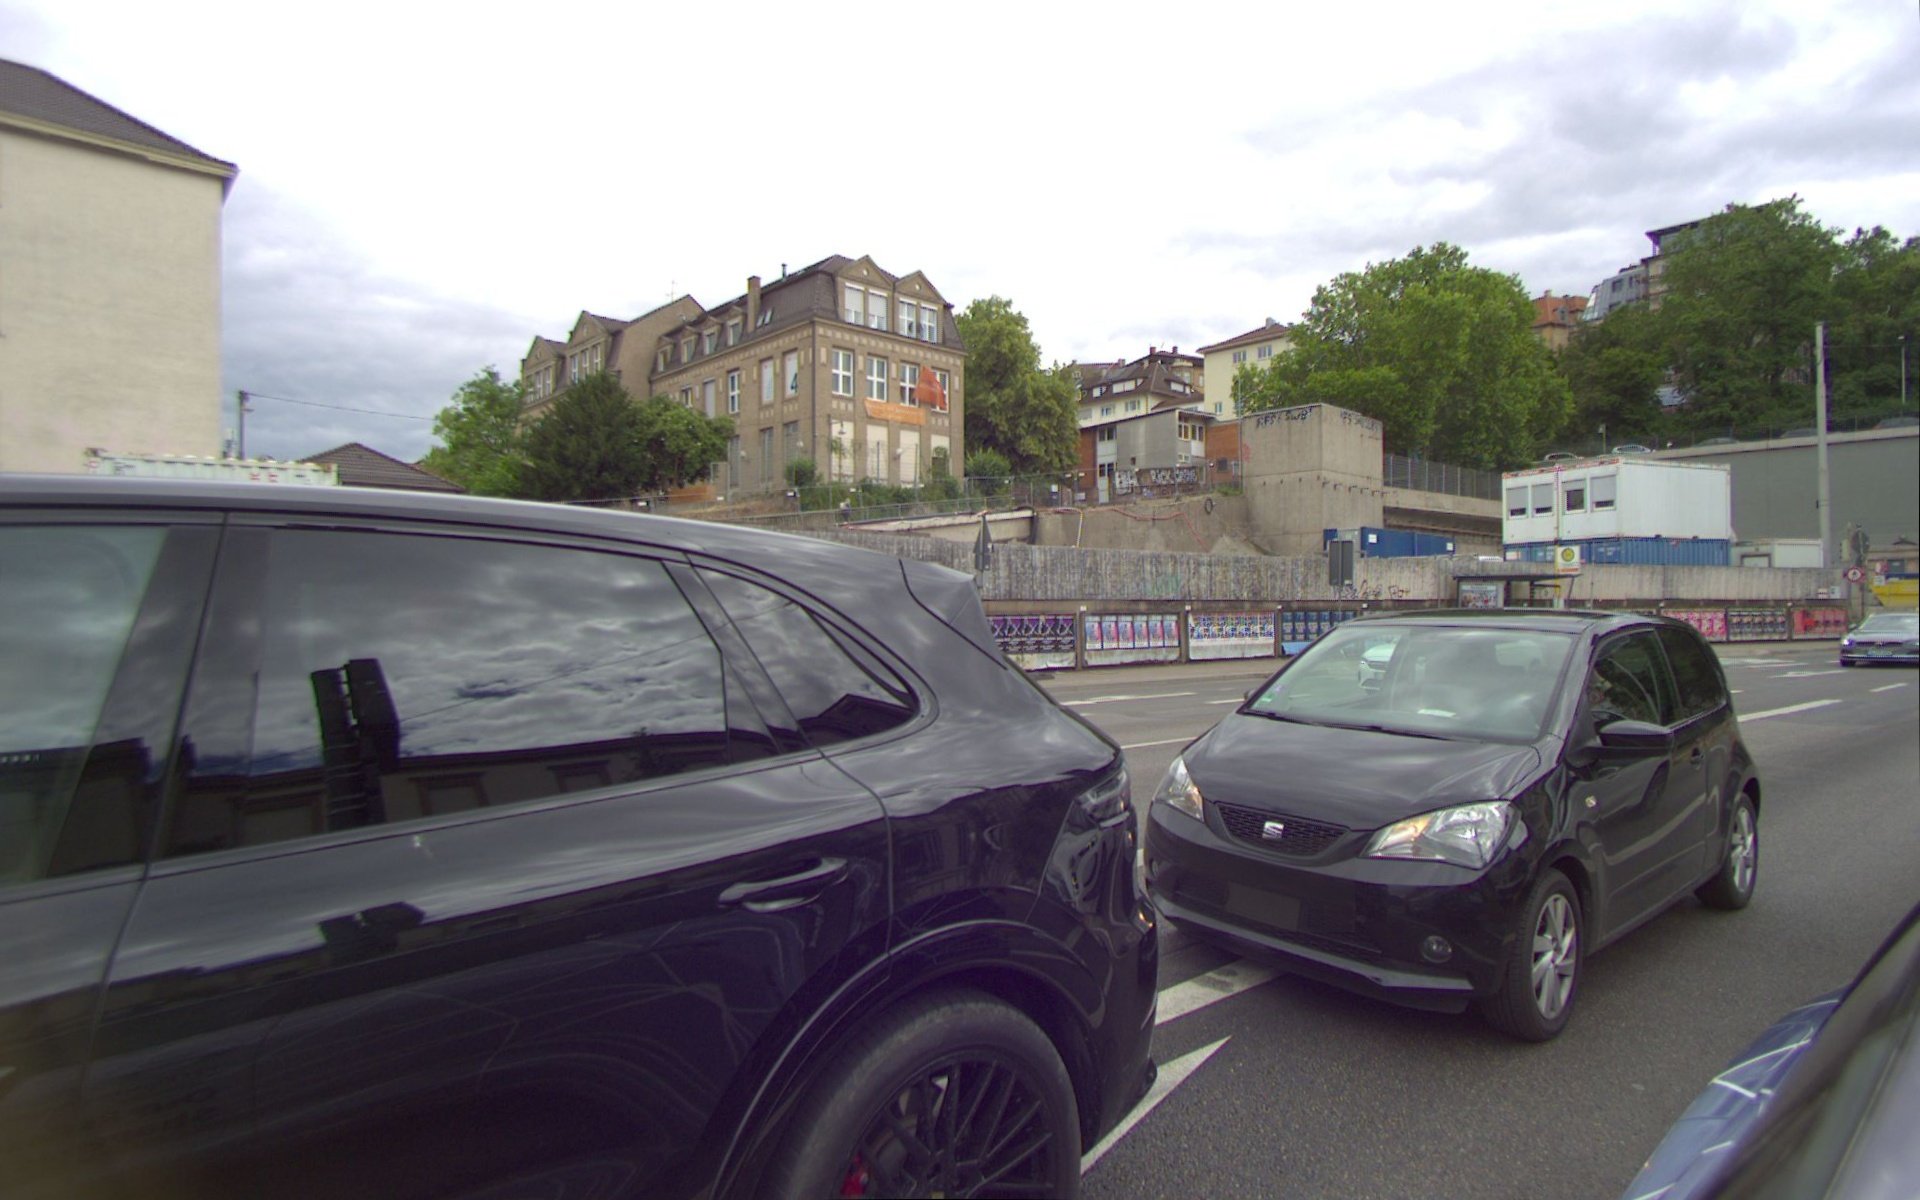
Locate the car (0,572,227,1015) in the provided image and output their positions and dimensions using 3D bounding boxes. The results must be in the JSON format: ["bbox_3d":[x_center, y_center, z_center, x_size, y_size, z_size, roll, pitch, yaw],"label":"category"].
[{"bbox_3d":[-4.883,0.689,3.417,3.812,1.563,1.667,0,-1,-40],"label":"car"}]

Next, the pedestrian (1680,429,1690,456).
[{"bbox_3d":[57.172,-12.397,79.797,0.568,2.039,0.580,0,0,-44],"label":"pedestrian"}]

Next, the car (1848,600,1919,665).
[{"bbox_3d":[25.715,0.821,27.269,4.568,1.591,1.826,0,0,-37],"label":"car"}]

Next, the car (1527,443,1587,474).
[{"bbox_3d":[50.261,-11.902,85.220,3.988,2.039,1.968,0,1,45],"label":"car"}]

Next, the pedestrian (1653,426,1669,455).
[{"bbox_3d":[53.581,-12.193,77.316,0.891,2.039,0.849,0,-1,-45],"label":"pedestrian"}]

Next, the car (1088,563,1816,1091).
[{"bbox_3d":[2.528,0.656,4.783,3.812,1.515,1.667,0,-1,-40],"label":"car"}]

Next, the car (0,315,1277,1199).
[{"bbox_3d":[-1.622,0.580,1.698,4.552,1.707,1.959,0,-1,-40],"label":"car"}]

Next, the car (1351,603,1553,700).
[{"bbox_3d":[8.698,0.820,17.774,3.927,1.498,1.663,0,-1,-38],"label":"car"}]

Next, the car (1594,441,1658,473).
[{"bbox_3d":[53.577,-11.496,81.430,3.988,2.039,1.968,0,1,45],"label":"car"}]

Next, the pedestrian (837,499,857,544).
[{"bbox_3d":[-5.249,-3.630,46.984,0.656,2.039,0.644,0,0,-45],"label":"pedestrian"}]

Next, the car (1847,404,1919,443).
[{"bbox_3d":[64.164,-12.183,70.038,1.966,2.039,3.991,0,1,-43],"label":"car"}]
